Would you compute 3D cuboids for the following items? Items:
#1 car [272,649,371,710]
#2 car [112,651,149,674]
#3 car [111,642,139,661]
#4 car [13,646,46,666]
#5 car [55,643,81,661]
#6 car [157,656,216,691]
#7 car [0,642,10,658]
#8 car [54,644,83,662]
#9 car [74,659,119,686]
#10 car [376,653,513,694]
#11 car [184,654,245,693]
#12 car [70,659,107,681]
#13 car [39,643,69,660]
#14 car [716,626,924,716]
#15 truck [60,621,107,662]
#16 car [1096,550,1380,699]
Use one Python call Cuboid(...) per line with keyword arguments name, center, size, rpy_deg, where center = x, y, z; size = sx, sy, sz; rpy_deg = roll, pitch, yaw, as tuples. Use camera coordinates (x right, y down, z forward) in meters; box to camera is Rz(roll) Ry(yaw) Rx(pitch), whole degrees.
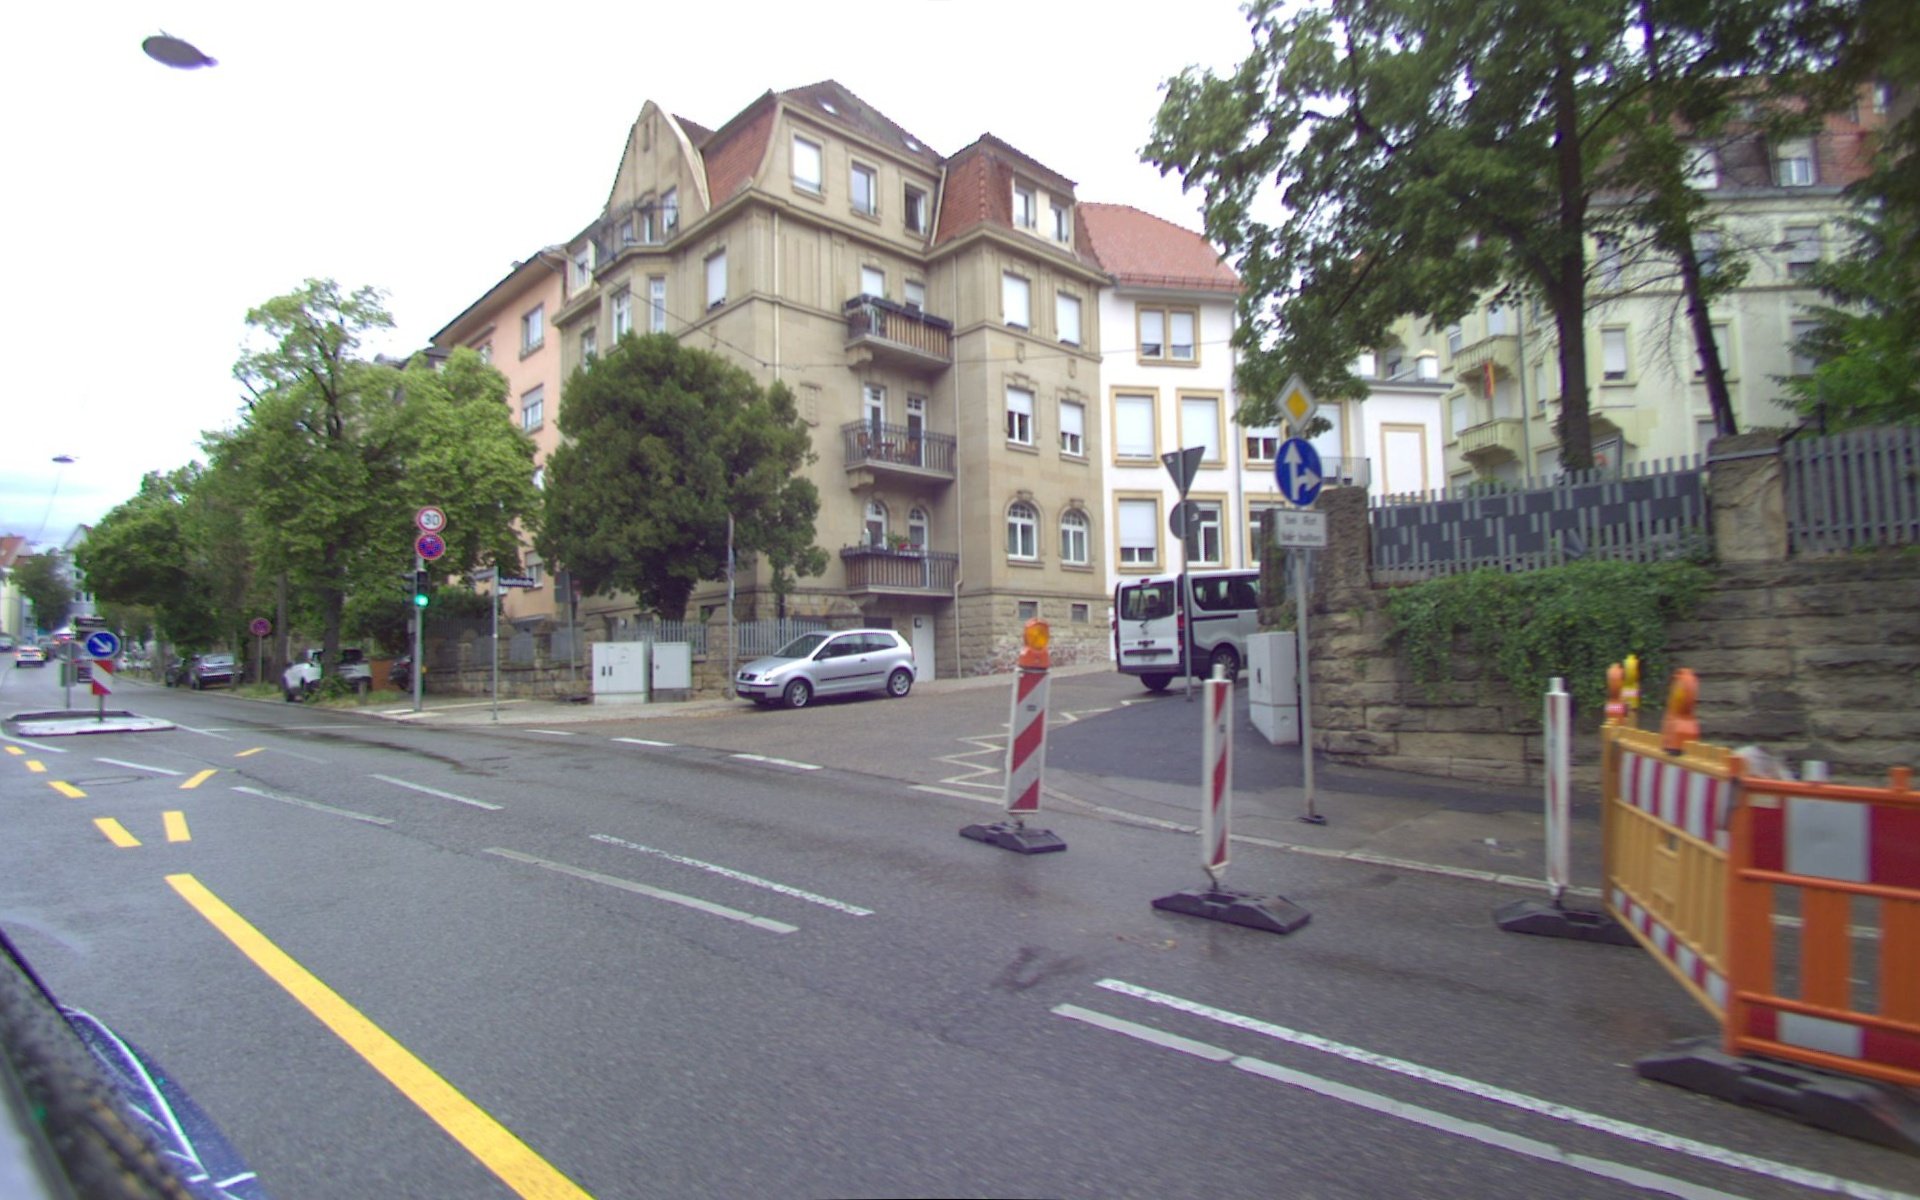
Cuboid(name="car", center=(-19.095, 2.297, 30.196), size=(1.721, 1.571, 4.306), rpy_deg=(-1, -1, -43))
Cuboid(name="car", center=(-62.922, 4.711, 76.733), size=(4.304, 1.571, 1.722), rpy_deg=(-2, -1, 44))
Cuboid(name="car", center=(-79.381, 4.897, 96.218), size=(1.971, 1.607, 3.835), rpy_deg=(-3, 0, -39))
Cuboid(name="car", center=(-75.122, 4.495, 81.717), size=(1.750, 1.529, 4.105), rpy_deg=(2, -3, -40))
Cuboid(name="car", center=(-93.393, 5.421, 106.007), size=(1.631, 1.721, 4.122), rpy_deg=(4, -3, -37))
Cuboid(name="car", center=(-39.406, 3.703, 51.526), size=(4.303, 1.571, 1.722), rpy_deg=(-2, 0, 44))
Cuboid(name="car", center=(-102.181, 5.234, 107.166), size=(1.896, 1.573, 4.019), rpy_deg=(6, -6, -39))
Cuboid(name="car", center=(-77.161, 4.565, 87.605), size=(1.750, 1.479, 4.755), rpy_deg=(1, -3, -41))
Cuboid(name="car", center=(-52.404, 4.421, 61.412), size=(1.794, 1.529, 4.552), rpy_deg=(4, -7, -43))
Cuboid(name="car", center=(-18.149, 2.566, 35.715), size=(1.838, 1.337, 3.941), rpy_deg=(-4, -4, 45))
Cuboid(name="car", center=(-33.682, 3.273, 45.695), size=(1.721, 1.571, 4.306), rpy_deg=(-1, -1, -43))
Cuboid(name="car", center=(-66.774, 5.350, 77.488), size=(1.752, 1.529, 4.593), rpy_deg=(5, -5, -45))
Cuboid(name="car", center=(-85.307, 4.839, 95.336), size=(1.689, 1.491, 4.122), rpy_deg=(4, -4, -37))
Cuboid(name="car", center=(-2.828, 1.373, 20.778), size=(3.813, 1.419, 1.830), rpy_deg=(-3, 2, -39))
Cuboid(name="truck", center=(-86.575, 4.154, 99.913), size=(2.617, 3.884, 9.311), rpy_deg=(5, -5, -45))
Cuboid(name="car", center=(4.977, 0.384, 17.998), size=(4.599, 2.063, 2.032), rpy_deg=(-6, 0, -29))
